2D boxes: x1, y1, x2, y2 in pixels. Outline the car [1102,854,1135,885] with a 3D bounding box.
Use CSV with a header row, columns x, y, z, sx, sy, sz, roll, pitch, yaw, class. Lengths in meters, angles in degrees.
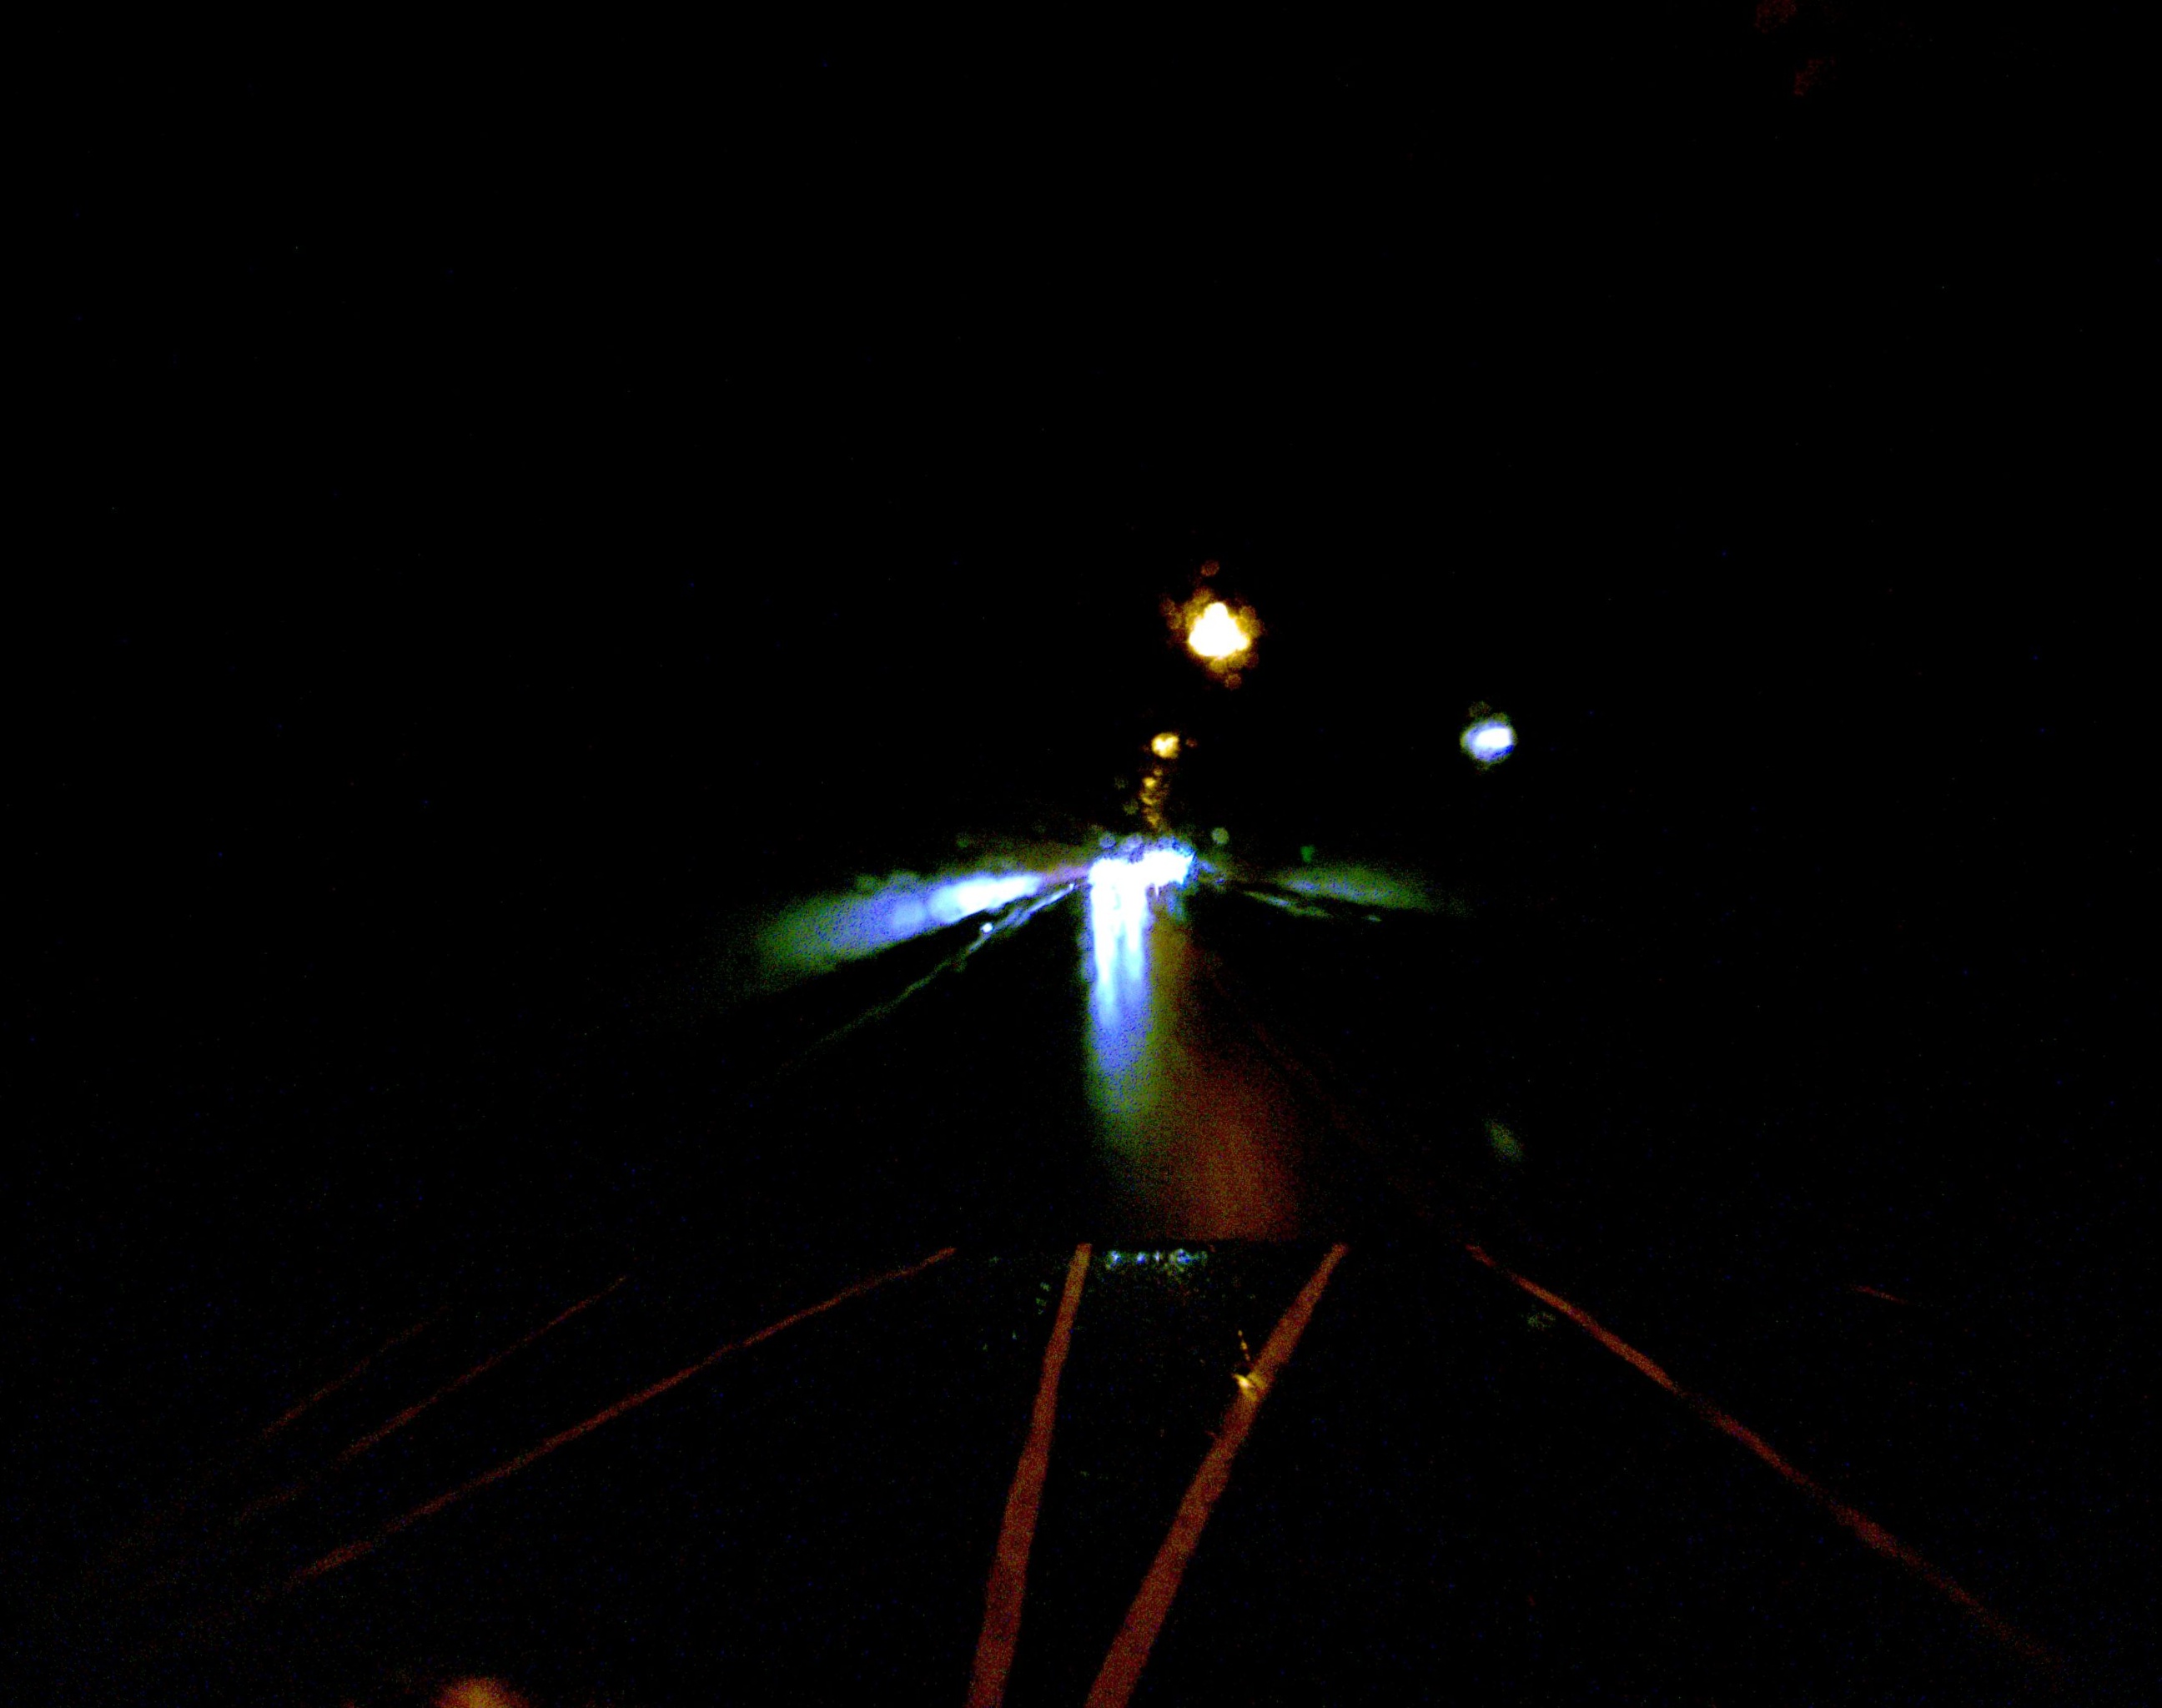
x,y,z,sx,sy,sz,roll,pitch,yaw,class
2.217,0.869,44.055,1.729,1.595,4.001,-3,0,4,car
